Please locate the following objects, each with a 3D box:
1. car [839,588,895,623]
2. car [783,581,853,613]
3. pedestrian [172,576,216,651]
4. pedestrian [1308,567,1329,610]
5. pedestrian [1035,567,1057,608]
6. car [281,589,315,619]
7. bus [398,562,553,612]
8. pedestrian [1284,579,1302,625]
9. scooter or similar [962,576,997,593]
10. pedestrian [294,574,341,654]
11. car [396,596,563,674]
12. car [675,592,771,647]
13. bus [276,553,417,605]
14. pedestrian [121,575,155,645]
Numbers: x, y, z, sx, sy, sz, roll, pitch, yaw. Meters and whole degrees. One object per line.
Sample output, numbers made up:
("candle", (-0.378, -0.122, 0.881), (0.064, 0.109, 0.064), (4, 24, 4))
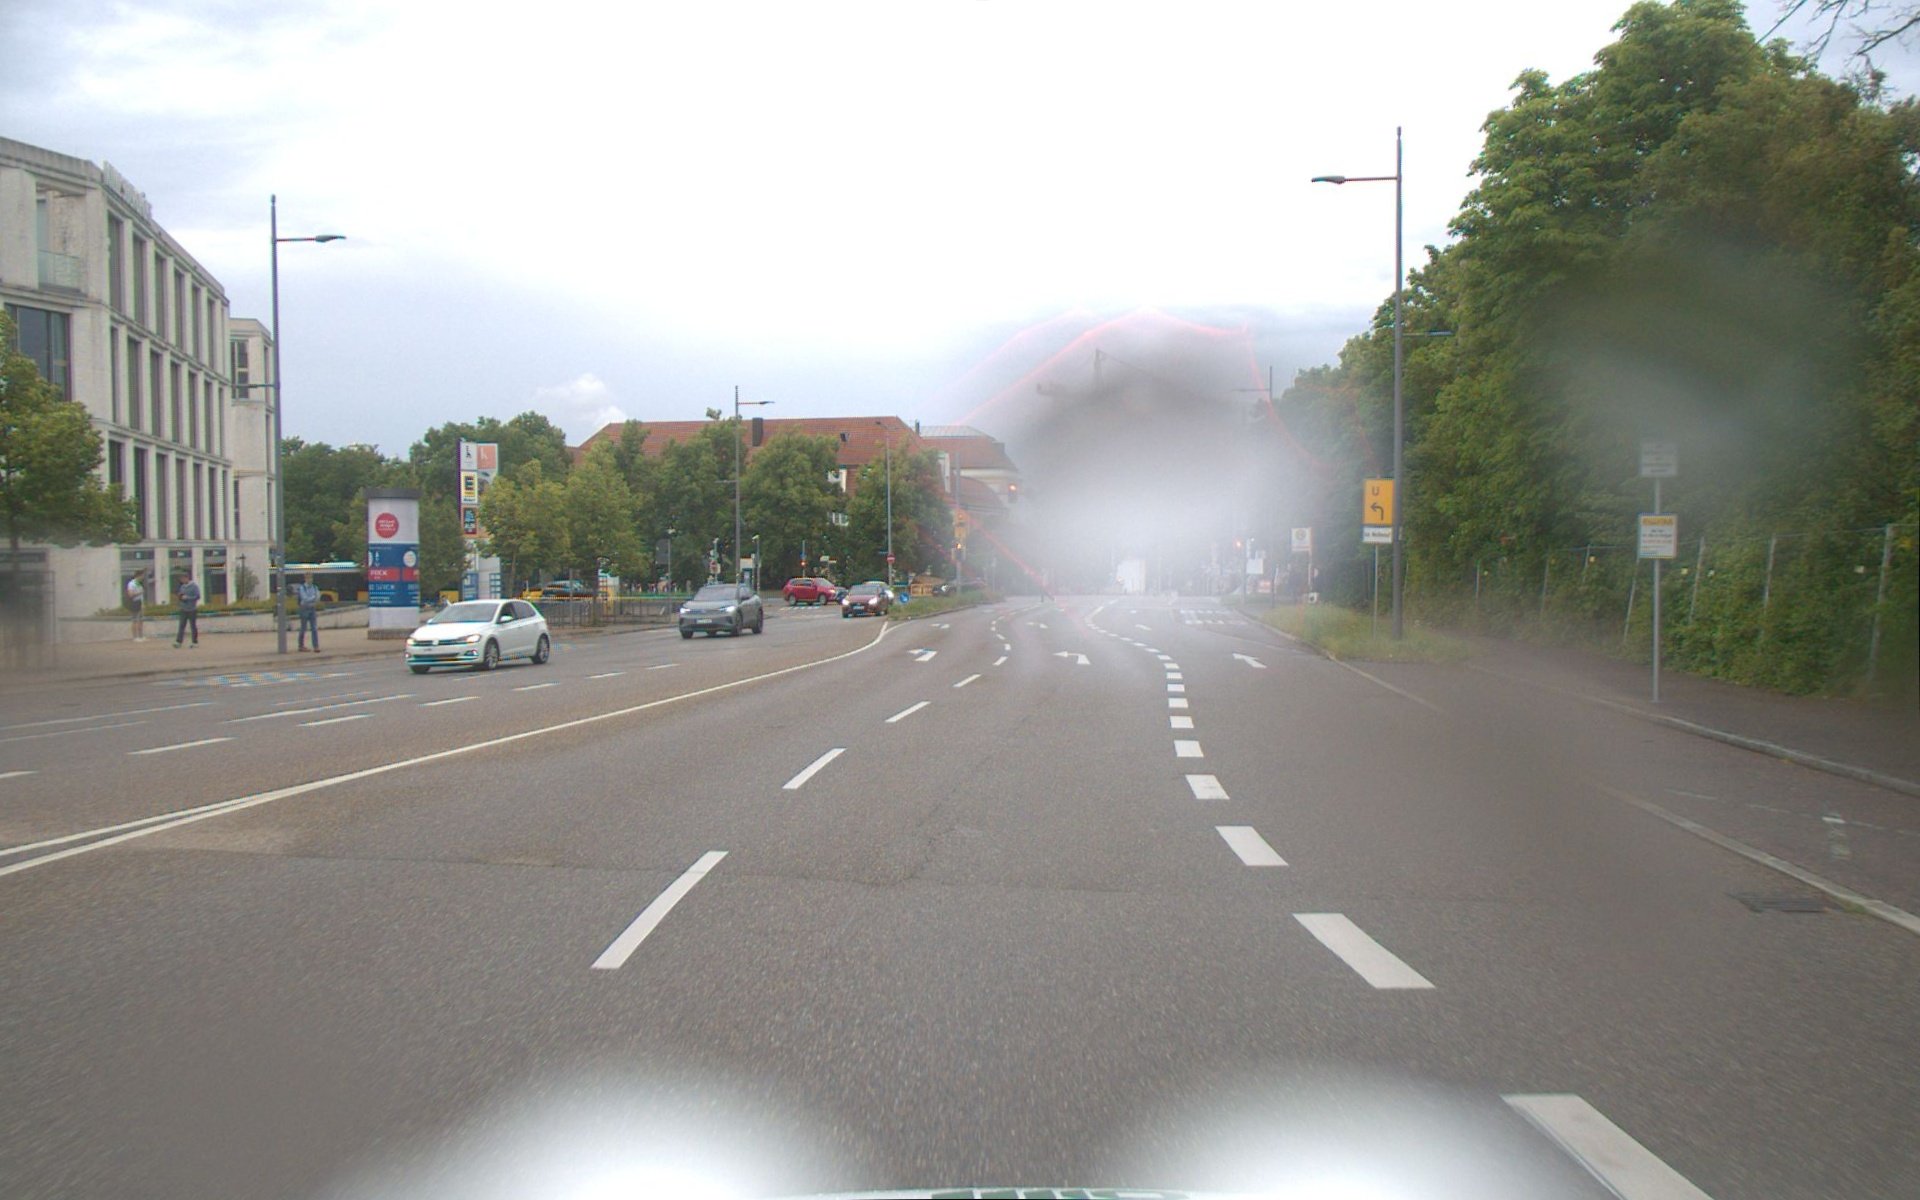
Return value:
("car", (-4.284, 0.232, 77.119), (1.793, 1.441, 4.469), (-3, 1, 7))
("car", (-8.828, -0.205, 102.999), (3.912, 1.950, 1.996), (0, 0, 30))
("pedestrian", (-18.559, 0.320, 40.082), (0.585, 1.793, 0.858), (0, 0, 9))
("pedestrian", (14.247, -0.442, 65.709), (0.661, 1.687, 0.793), (-1, 1, 2))
("pedestrian", (4.369, -0.636, 84.026), (0.920, 2.048, 0.848), (-3, 0, 12))
("car", (-39.868, 0.207, 99.685), (1.748, 1.761, 3.976), (-1, 1, -20))
("bus", (-32.254, -0.894, 110.186), (9.517, 3.157, 2.900), (-1, 1, 8))
("pedestrian", (14.126, 0.097, 70.208), (0.627, 1.934, 0.718), (-1, 1, 2))
("scooter or similar", (1.723, -1.347, 145.076), (3.022, 1.465, 0.949), (-1, 1, 5))
("pedestrian", (-15.167, 0.317, 39.057), (0.737, 1.874, 0.747), (0, 0, 9))
("car", (-10.037, 0.702, 34.897), (1.833, 1.455, 4.179), (-3, -1, 7))
("car", (-7.476, 0.600, 52.582), (1.793, 1.599, 4.597), (-3, -1, 7))
("bus", (-41.324, -1.423, 111.496), (8.367, 3.365, 2.899), (-1, 1, 4))
("pedestrian", (-20.592, 0.241, 41.444), (0.488, 1.719, 0.913), (0, 0, -9))
